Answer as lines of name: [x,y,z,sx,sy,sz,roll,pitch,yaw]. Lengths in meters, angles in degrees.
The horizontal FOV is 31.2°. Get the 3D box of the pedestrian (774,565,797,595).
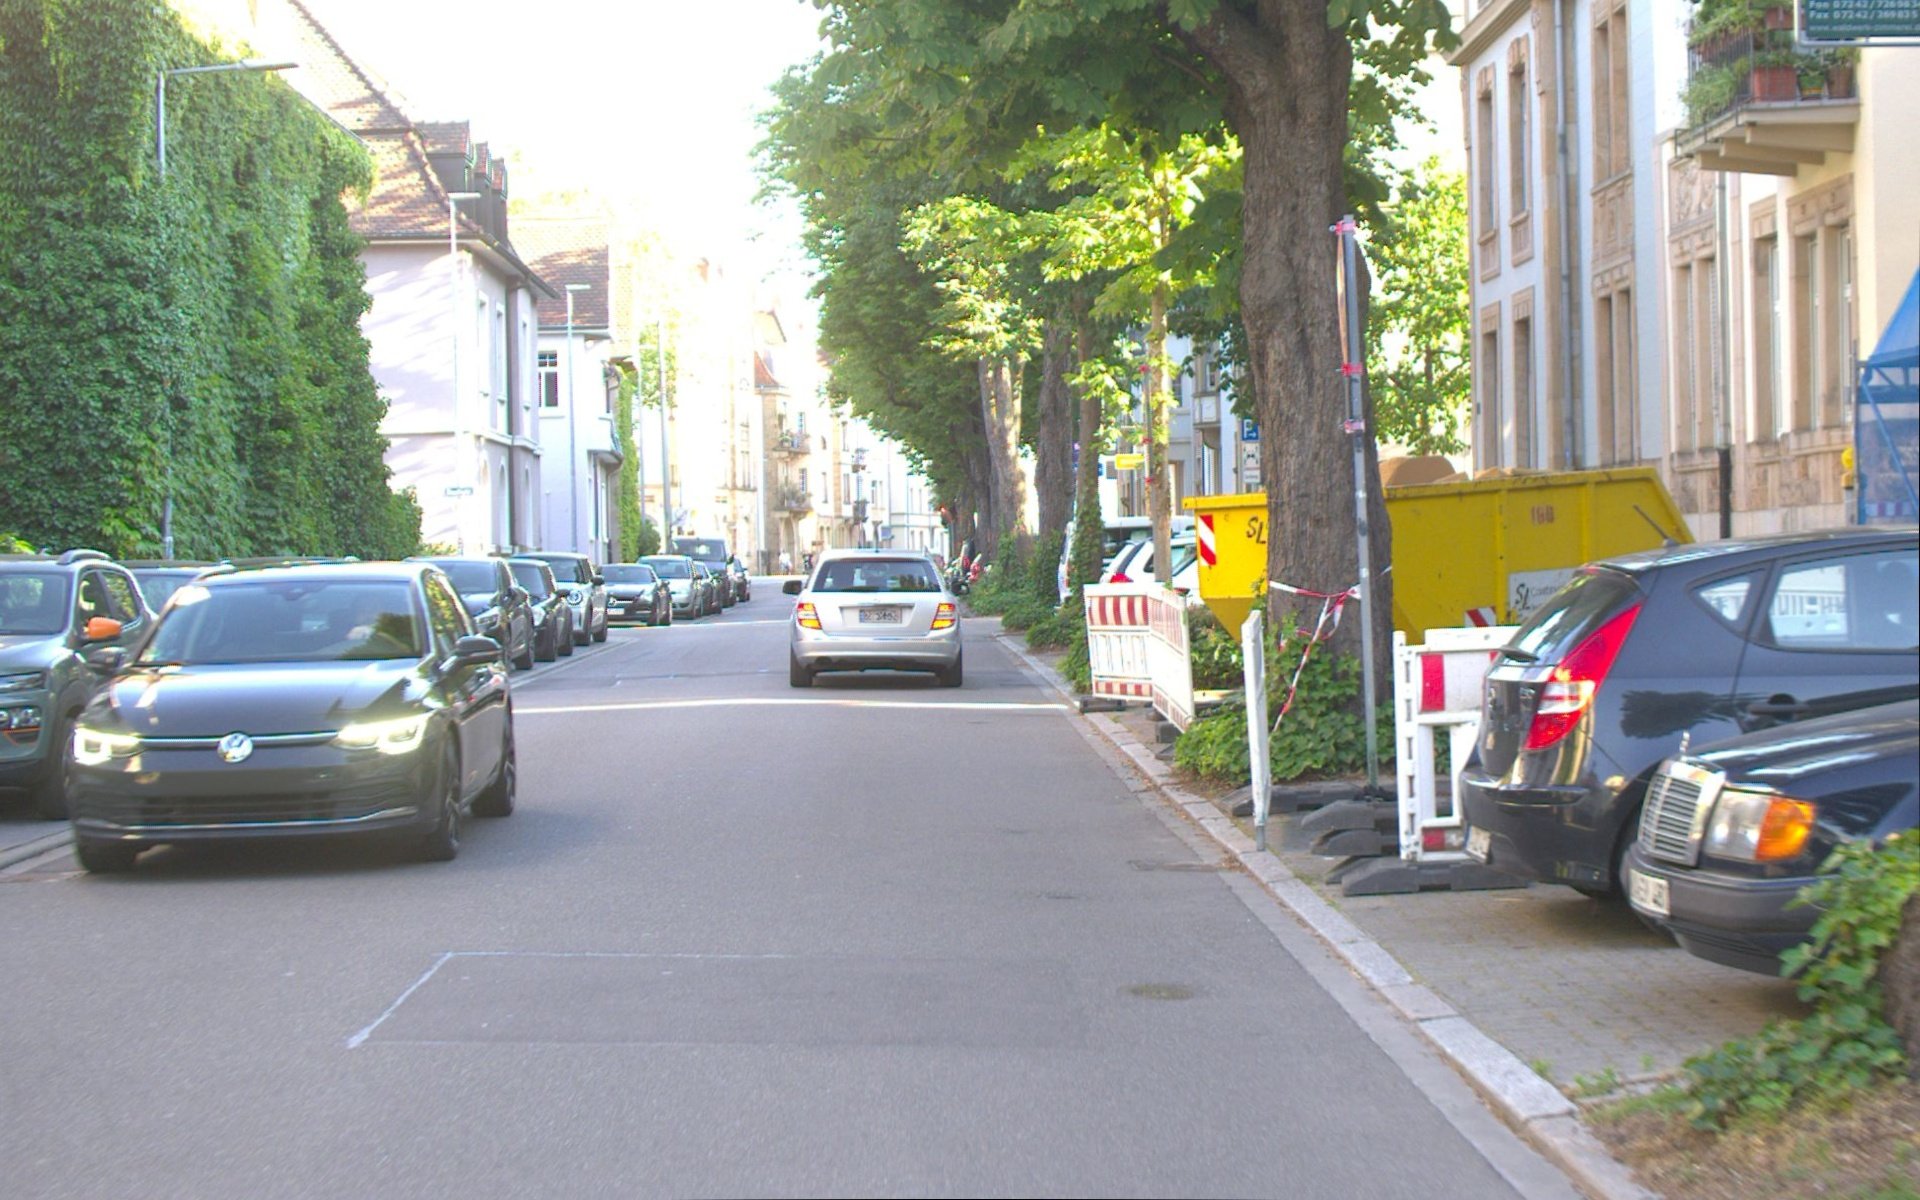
pedestrian: [-10.036,-1.131,197.982,1.221,1.716,1.503,0,0,2]

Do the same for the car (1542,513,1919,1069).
car: [4.350,0.431,10.591,4.718,1.530,1.851,-3,1,-1]

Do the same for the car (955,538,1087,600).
car: [2.011,-1.025,114.972,4.219,1.890,1.906,-2,0,-3]

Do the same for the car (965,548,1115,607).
car: [2.292,-0.645,98.380,4.190,1.470,1.851,-3,0,2]

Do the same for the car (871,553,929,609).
car: [-1.728,-0.576,100.345,1.623,1.564,3.680,-1,1,0]

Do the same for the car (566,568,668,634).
car: [-7.122,0.007,71.682,1.653,1.319,4.045,0,0,1]

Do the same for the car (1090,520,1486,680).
car: [3.546,-0.015,37.714,4.144,1.529,1.687,-3,1,1]

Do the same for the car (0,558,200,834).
car: [-5.738,0.493,20.449,1.653,1.480,3.764,0,1,-1]

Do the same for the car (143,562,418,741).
car: [-5.972,0.398,30.706,1.792,1.456,4.778,0,1,-4]

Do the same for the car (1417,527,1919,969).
car: [3.880,0.460,13.069,3.987,1.487,1.851,-3,1,1]

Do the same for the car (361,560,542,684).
car: [-6.103,0.231,41.637,1.649,1.416,4.099,0,1,-1]

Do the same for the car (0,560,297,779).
car: [-5.868,0.442,24.761,1.653,1.442,3.845,0,1,-3]

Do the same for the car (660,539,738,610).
car: [-7.341,-0.740,97.094,1.982,1.941,4.852,0,1,-2]

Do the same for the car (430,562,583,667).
car: [-6.242,0.173,47.625,1.686,1.375,3.721,0,1,-1]

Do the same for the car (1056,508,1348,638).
car: [3.749,-0.427,53.770,4.314,1.801,2.000,-3,1,-1]

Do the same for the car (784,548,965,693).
car: [-0.863,0.206,35.907,1.784,1.432,3.851,0,0,-1]

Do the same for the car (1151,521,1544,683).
car: [3.926,0.005,35.243,3.852,1.457,1.686,-2,1,4]

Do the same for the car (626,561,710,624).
car: [-6.839,-0.189,80.769,1.653,1.440,3.960,0,1,0]

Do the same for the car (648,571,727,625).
car: [-6.764,-0.053,85.721,1.531,1.314,4.226,0,0,1]

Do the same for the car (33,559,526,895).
car: [-3.324,0.551,17.524,1.772,1.443,4.000,-2,1,-1]

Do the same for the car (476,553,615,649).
car: [-6.510,-0.009,54.299,1.704,1.455,3.917,0,1,0]
